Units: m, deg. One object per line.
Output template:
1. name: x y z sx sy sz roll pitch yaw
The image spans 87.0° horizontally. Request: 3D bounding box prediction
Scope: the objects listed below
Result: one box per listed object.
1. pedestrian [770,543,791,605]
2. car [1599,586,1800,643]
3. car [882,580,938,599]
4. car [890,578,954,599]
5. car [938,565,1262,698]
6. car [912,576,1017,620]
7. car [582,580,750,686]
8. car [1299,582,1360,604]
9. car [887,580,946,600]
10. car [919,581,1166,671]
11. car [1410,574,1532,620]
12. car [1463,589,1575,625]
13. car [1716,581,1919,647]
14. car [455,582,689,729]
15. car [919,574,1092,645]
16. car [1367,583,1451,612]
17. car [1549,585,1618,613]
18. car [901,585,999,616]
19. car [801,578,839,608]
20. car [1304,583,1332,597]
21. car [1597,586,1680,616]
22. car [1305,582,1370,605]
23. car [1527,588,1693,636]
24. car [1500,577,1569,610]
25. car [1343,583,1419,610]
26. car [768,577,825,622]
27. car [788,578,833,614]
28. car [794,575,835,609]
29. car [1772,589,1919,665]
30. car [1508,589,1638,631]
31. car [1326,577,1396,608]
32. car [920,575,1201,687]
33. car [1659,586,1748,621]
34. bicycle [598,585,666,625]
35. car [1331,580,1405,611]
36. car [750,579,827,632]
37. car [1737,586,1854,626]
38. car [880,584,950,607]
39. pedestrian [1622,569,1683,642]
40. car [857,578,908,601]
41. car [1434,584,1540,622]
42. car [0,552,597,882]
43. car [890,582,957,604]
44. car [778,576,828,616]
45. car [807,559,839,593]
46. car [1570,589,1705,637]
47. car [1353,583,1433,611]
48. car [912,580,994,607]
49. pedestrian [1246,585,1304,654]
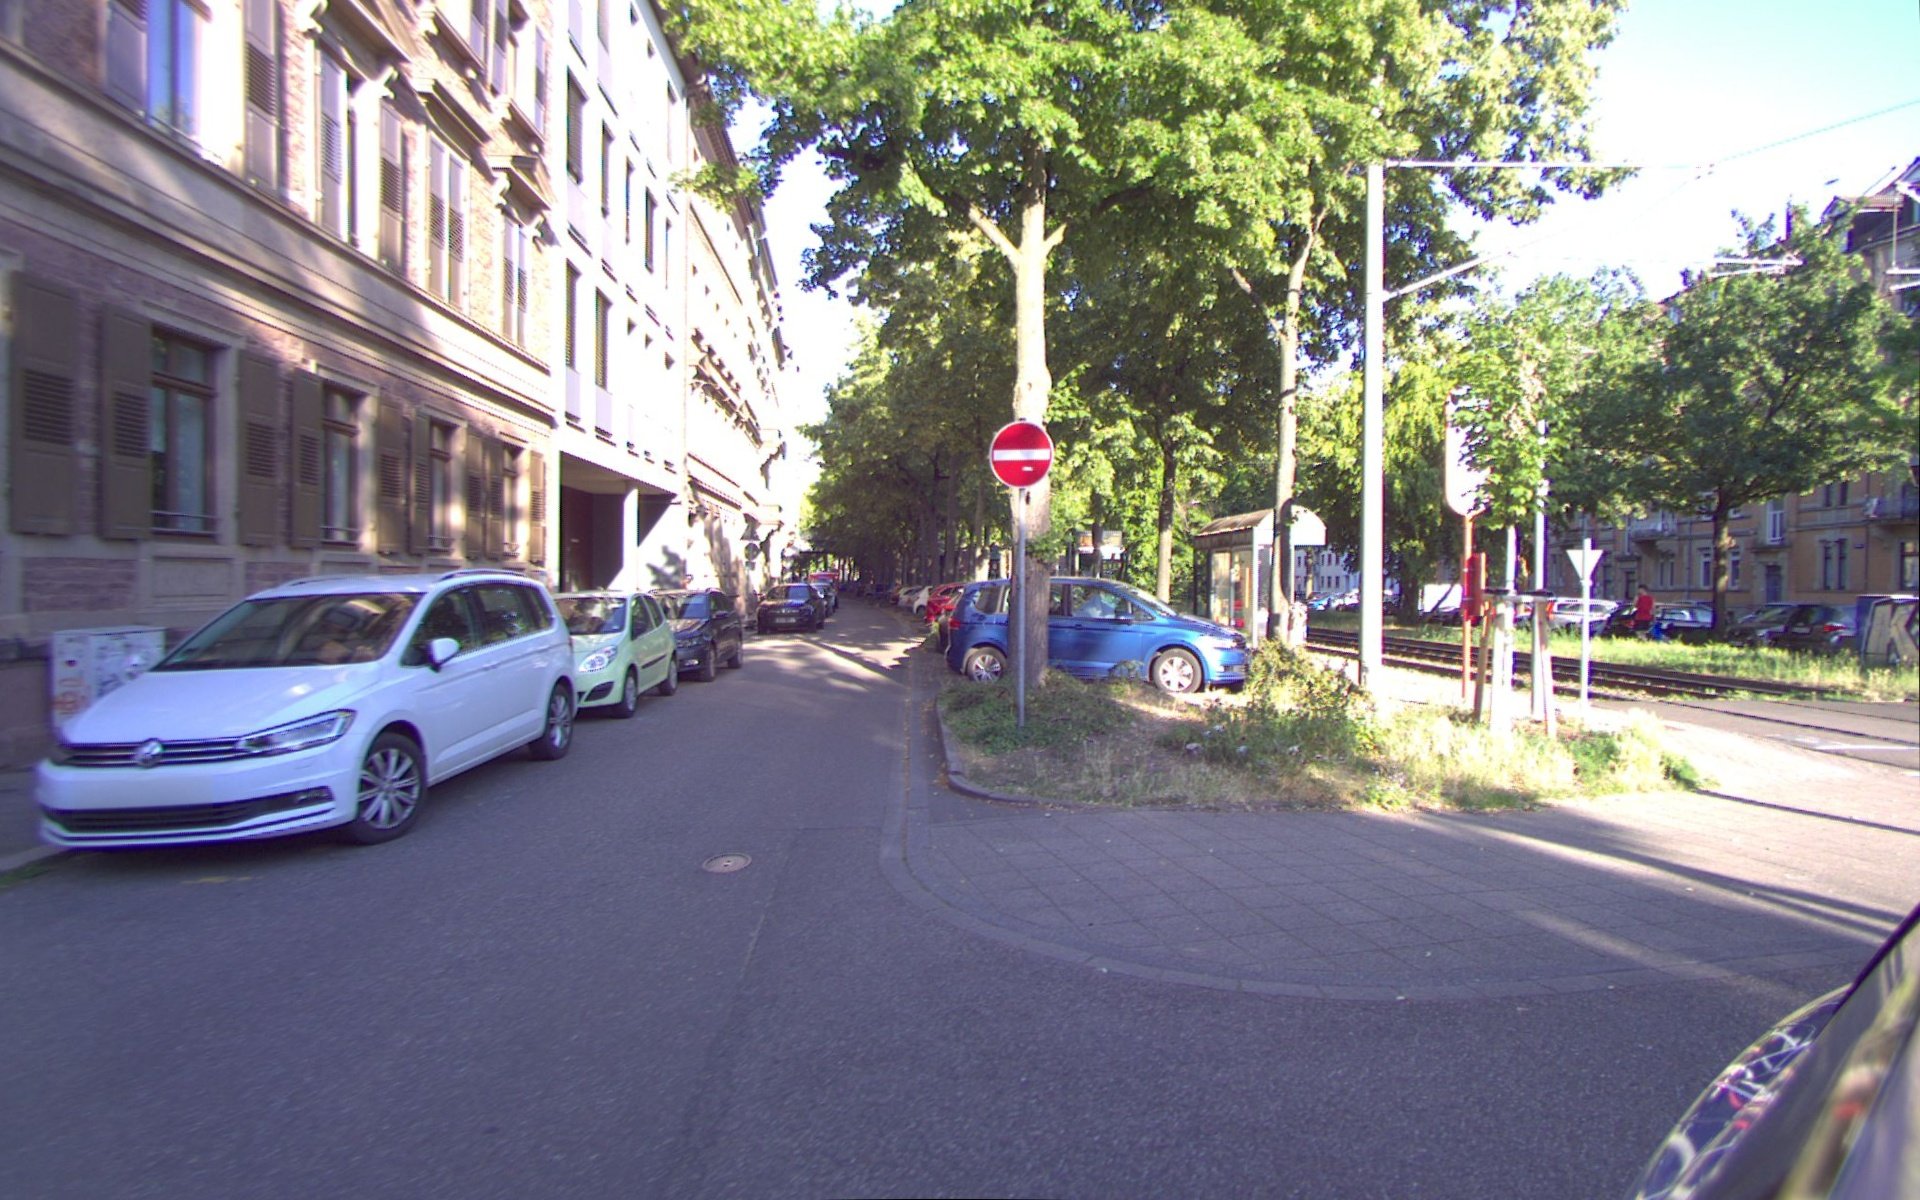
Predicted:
1. pedestrian: -8.704 -1.245 49.139 0.902 2.984 0.701 1 1 -6
2. car: 23.166 0.422 31.891 4.637 1.591 1.996 1 2 9
3. car: -3.815 -0.796 77.213 3.962 1.295 1.732 2 1 27
4. car: -2.548 -0.799 67.684 3.962 1.295 1.732 2 1 27
5. car: 2.010 0.384 14.677 4.372 1.708 1.727 0 1 25
6. car: 0.190 -0.108 44.000 4.247 1.716 1.790 2 1 31
7. car: -4.795 0.453 17.119 1.708 1.508 4.167 -2 1 -2
8. car: 27.210 -0.521 74.618 3.931 1.507 1.681 2 1 7
9. car: -3.141 -0.737 73.642 3.962 1.295 1.732 2 1 27
10. car: 1.622 0.442 20.187 4.510 1.505 1.911 2 1 28
11. car: 24.985 -0.169 49.627 4.776 2.063 2.152 2 1 7
12. car: 24.607 0.281 44.682 3.931 1.441 1.681 2 1 7
13. car: 23.255 0.347 27.015 4.477 1.591 1.946 1 2 9
14. car: -4.706 0.567 12.839 1.708 1.508 3.728 -2 1 -4
15. car: 1.218 0.199 28.212 4.527 1.743 1.904 2 1 37
16. car: 25.038 -0.156 56.519 3.931 1.507 1.681 2 1 7
17. car: 35.159 -0.094 57.197 1.738 1.456 3.883 -1 1 5
18. car: -0.476 0.002 47.130 4.242 1.295 1.792 2 1 28
19. car: -8.002 -0.448 58.043 1.960 1.587 4.619 1 1 -6
20. car: 39.995 -1.155 113.098 1.849 1.459 4.387 -1 1 5
21. car: 34.869 0.012 52.148 1.738 1.401 4.283 -1 1 7
22. car: 26.629 -0.457 71.433 3.931 1.507 1.681 2 1 7
23. car: 23.738 0.403 37.146 4.637 1.591 1.996 1 2 9
24. car: 35.560 -0.423 62.809 1.880 1.906 4.719 -1 1 5
25. car: 25.677 -0.242 61.870 3.931 1.507 1.681 2 1 7
26. car: -6.212 -0.075 38.844 1.959 1.587 4.249 1 1 -7
27. car: -7.054 -0.227 48.037 1.959 1.587 4.249 1 1 -7
28. car: -7.510 -0.448 52.503 1.959 1.587 4.424 1 1 -7
29. car: 22.737 0.632 24.569 4.366 1.712 1.950 1 2 1
30. car: 23.971 0.370 39.678 3.931 1.479 1.681 2 1 7
31. car: 26.298 -0.505 66.441 3.931 1.855 1.681 2 1 7
32. car: 1.736 0.455 17.740 4.510 1.655 1.911 2 1 28
33. car: 34.334 0.117 46.840 1.660 1.494 3.703 -1 1 6
34. bicycle: -9.586 0.124 29.688 0.675 1.130 2.079 1 1 24
35. car: 25.797 -0.314 64.063 3.931 1.855 1.681 2 1 7
36. car: -5.592 0.119 33.507 1.961 1.587 4.597 1 1 -3
37. car: 33.884 0.211 41.179 1.659 1.494 3.878 -1 1 4
38. car: -2.777 -0.283 62.180 3.962 1.295 1.732 2 1 27
39. pedestrian: 18.834 0.139 27.558 0.889 1.942 1.148 1 1 6
40. car: -6.560 -0.898 86.073 3.940 1.788 1.741 2 1 14
41. car: 24.415 0.108 47.017 3.928 1.599 1.764 2 1 4
42. car: -4.382 0.560 7.535 1.838 1.670 4.501 -2 1 -2
43. car: -2.349 -0.466 65.227 3.962 1.295 1.732 2 1 27
44. car: -6.728 -0.210 43.648 1.959 1.587 4.249 1 1 -7
45. car: -9.203 -1.613 68.194 1.960 2.199 4.619 1 1 -6
46. car: 23.013 0.416 34.486 3.353 1.533 1.715 1 1 8
47. car: 25.270 -0.199 59.127 3.931 1.507 1.681 2 1 7
48. car: -0.367 -0.352 52.850 3.962 1.295 1.732 2 1 27
49. pedestrian: 6.112 0.371 19.657 0.809 1.288 0.877 1 1 -2
